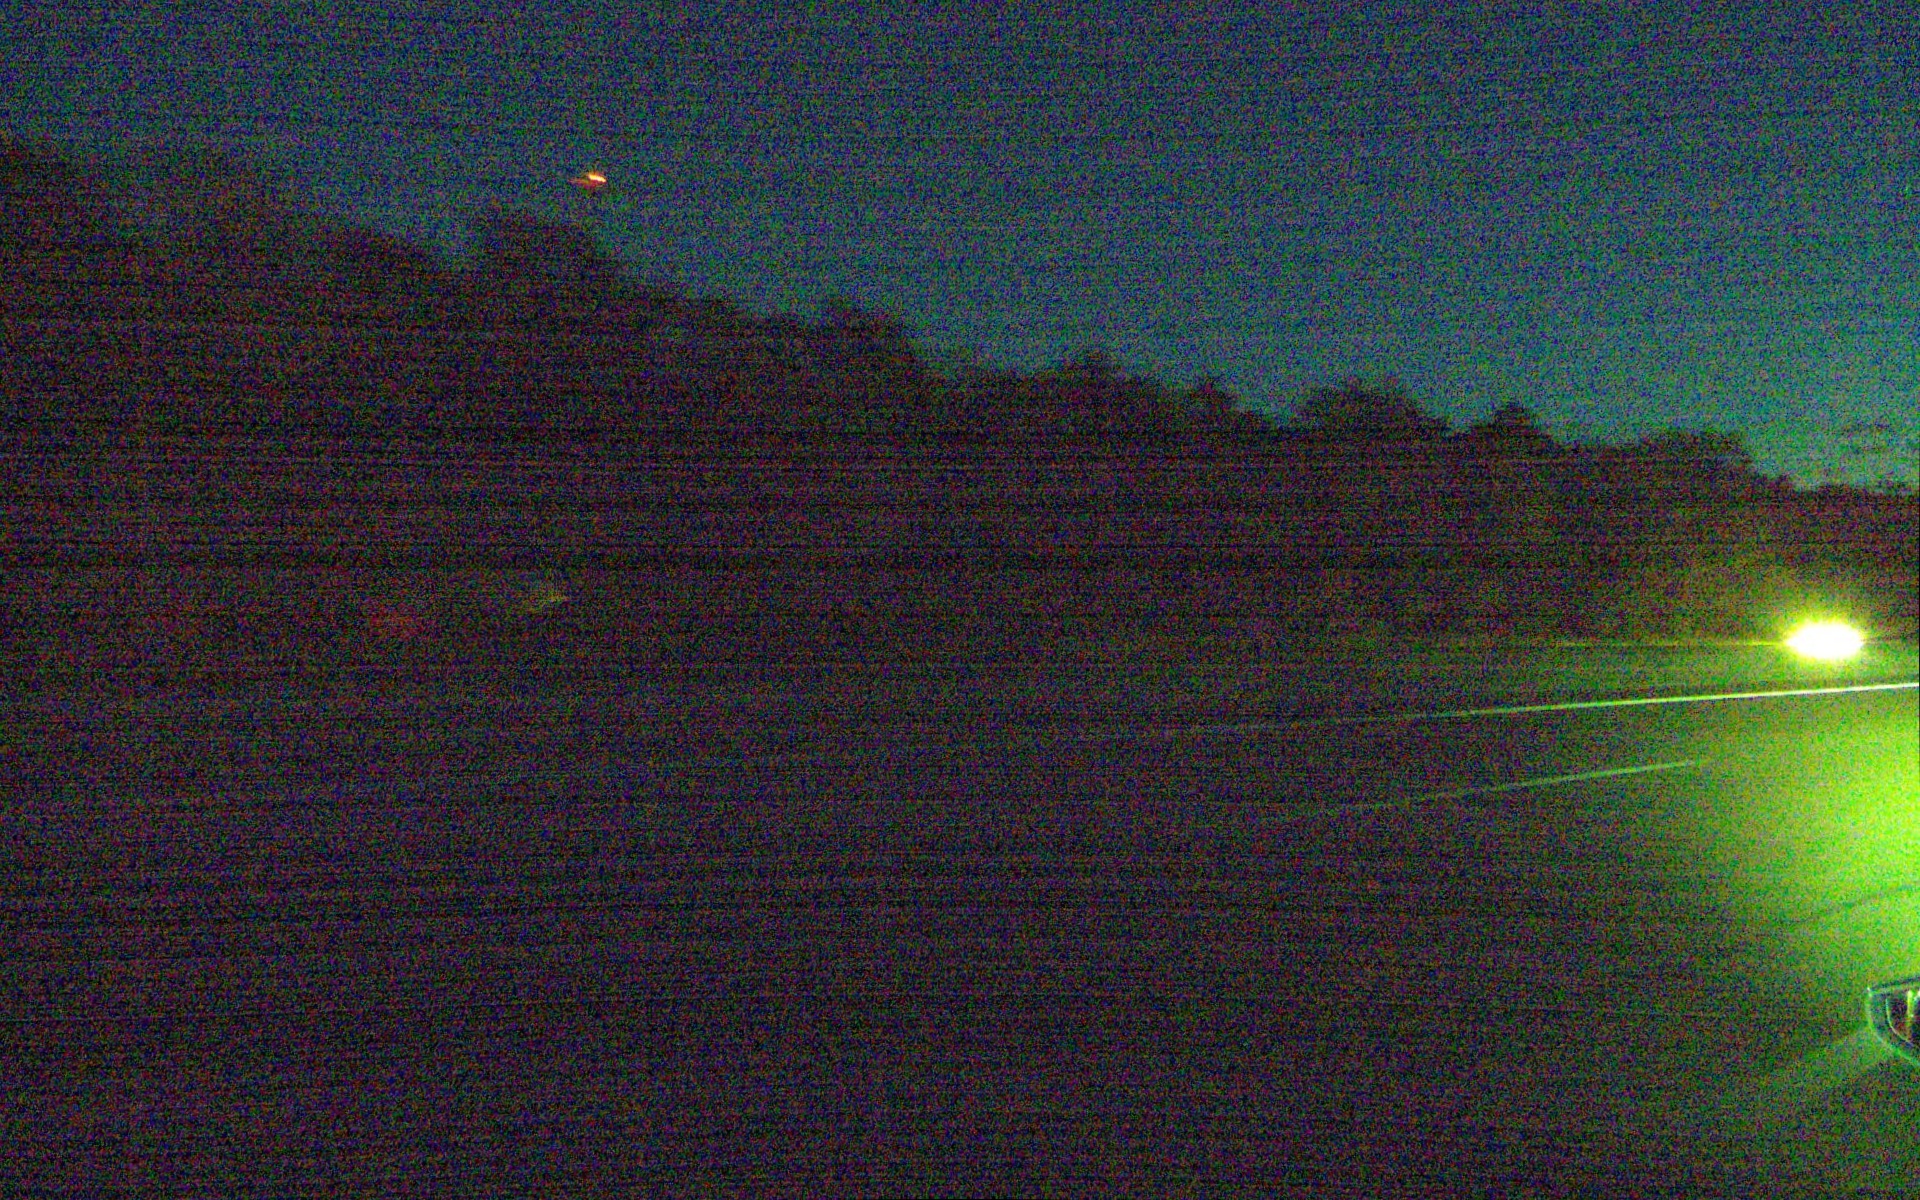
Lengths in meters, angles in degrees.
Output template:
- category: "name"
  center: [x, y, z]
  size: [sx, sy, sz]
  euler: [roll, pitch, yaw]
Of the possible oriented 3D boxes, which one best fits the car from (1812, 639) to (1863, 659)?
- category: "car"
  center: [58.834, 3.254, 67.327]
  size: [3.957, 1.281, 1.582]
  euler: [2, -1, -33]
